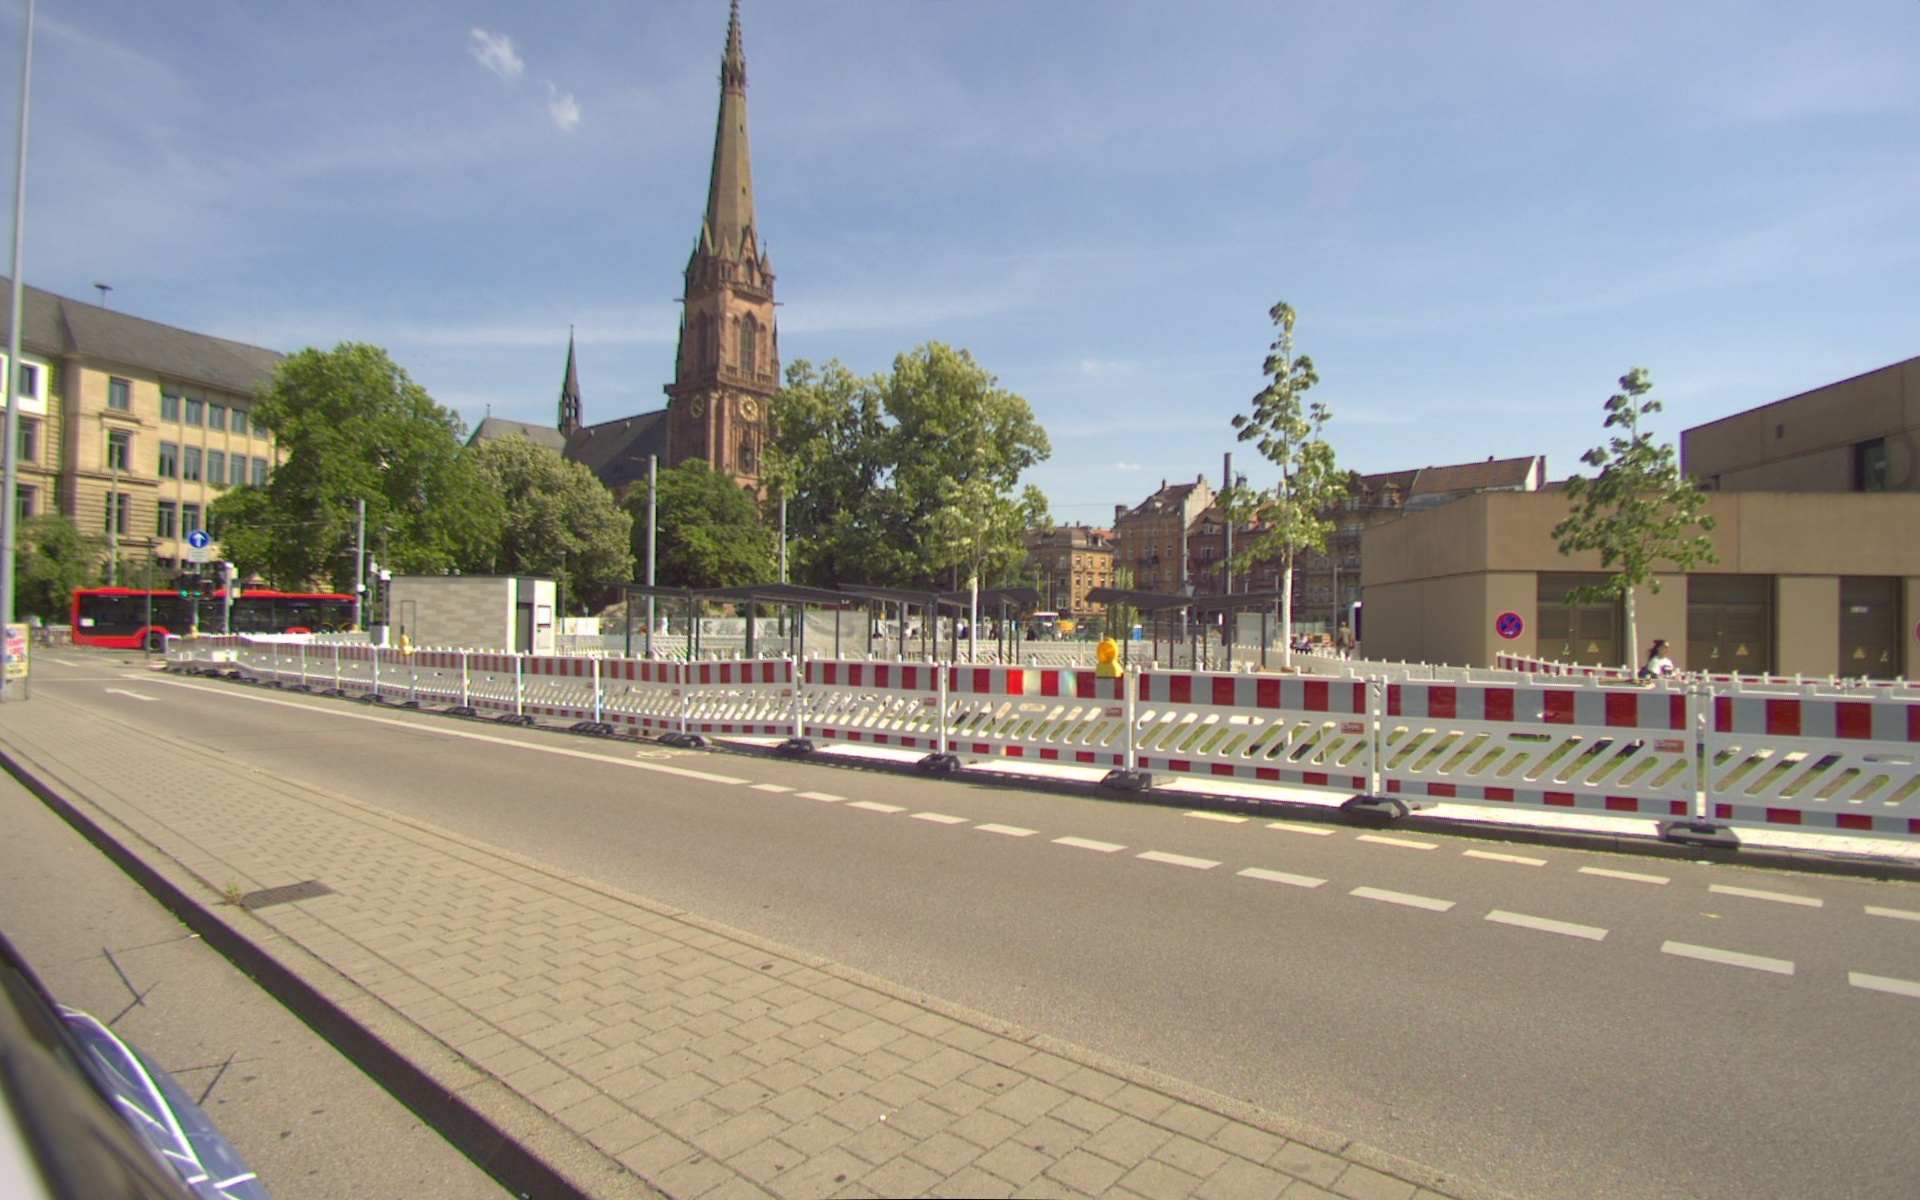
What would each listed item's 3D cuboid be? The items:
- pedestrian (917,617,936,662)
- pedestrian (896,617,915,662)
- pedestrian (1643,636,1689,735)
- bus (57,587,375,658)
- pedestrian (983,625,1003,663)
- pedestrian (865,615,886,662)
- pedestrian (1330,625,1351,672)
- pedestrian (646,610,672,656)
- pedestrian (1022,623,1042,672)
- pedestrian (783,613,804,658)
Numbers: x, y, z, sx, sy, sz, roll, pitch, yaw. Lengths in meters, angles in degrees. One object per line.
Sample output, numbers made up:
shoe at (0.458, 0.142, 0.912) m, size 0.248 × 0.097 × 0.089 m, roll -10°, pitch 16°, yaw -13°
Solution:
pedestrian at (-1.538, 1.797, 46.161) m, size 0.679 × 2.029 × 0.818 m, roll 0°, pitch -2°, yaw 11°
pedestrian at (-2.467, 1.777, 45.879) m, size 0.679 × 2.029 × 0.818 m, roll 1°, pitch -2°, yaw 11°
pedestrian at (11.538, 1.387, 16.546) m, size 0.549 × 1.576 × 0.425 m, roll 2°, pitch -2°, yaw -32°
bus at (-36.055, 0.997, 49.780) m, size 12.199 × 3.117 × 3.143 m, roll -1°, pitch 0°, yaw -20°
pedestrian at (1.471, 1.978, 45.208) m, size 0.733 × 1.674 × 0.822 m, roll 1°, pitch -2°, yaw -7°
pedestrian at (-3.746, 1.700, 44.929) m, size 0.679 × 2.029 × 0.818 m, roll 0°, pitch -2°, yaw 11°
pedestrian at (16.678, 2.106, 44.358) m, size 0.722 × 2.029 × 0.581 m, roll 1°, pitch -2°, yaw 5°
pedestrian at (-13.344, 1.454, 44.879) m, size 0.686 × 2.029 × 0.809 m, roll -1°, pitch -3°, yaw 43°
pedestrian at (3.035, 2.018, 42.799) m, size 0.680 × 2.029 × 0.816 m, roll 0°, pitch -2°, yaw 16°
pedestrian at (-7.538, 1.607, 45.856) m, size 0.678 × 2.029 × 0.819 m, roll 1°, pitch -2°, yaw 7°
